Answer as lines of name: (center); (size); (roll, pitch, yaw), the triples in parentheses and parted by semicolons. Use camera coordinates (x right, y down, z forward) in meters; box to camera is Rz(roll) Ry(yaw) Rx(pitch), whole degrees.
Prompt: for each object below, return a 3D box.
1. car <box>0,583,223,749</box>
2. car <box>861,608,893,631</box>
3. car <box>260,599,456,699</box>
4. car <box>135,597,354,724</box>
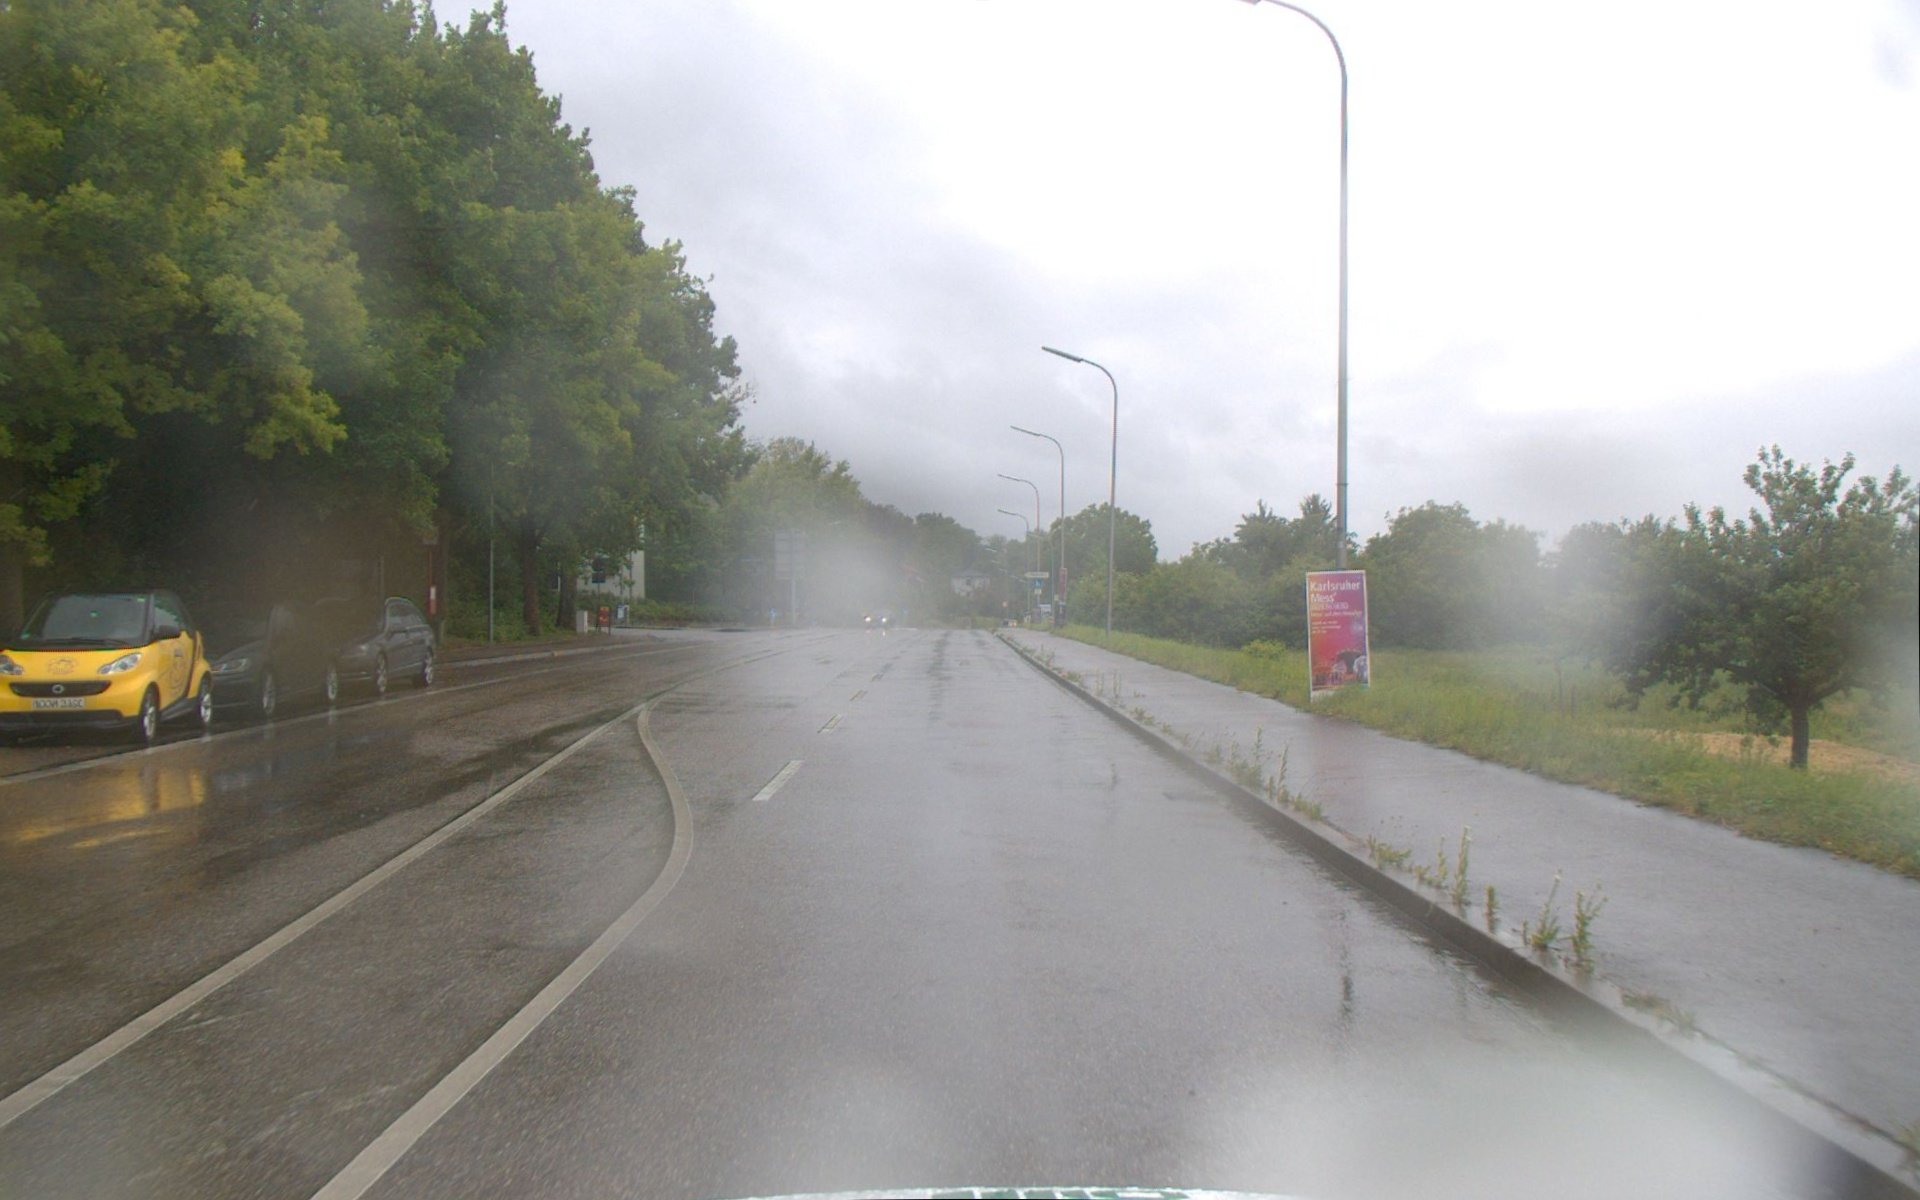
car: (-8.789, 0.630, 17.186); (1.407, 1.564, 2.813); (-1, 0, -10)
car: (-6.559, 1.540, 131.693); (1.756, 1.793, 4.003); (1, 0, 9)
car: (-9.467, 0.719, 26.416); (1.653, 1.444, 4.738); (-1, 0, -4)
car: (-9.011, 0.703, 21.158); (1.406, 1.444, 4.098); (-1, 0, -6)
